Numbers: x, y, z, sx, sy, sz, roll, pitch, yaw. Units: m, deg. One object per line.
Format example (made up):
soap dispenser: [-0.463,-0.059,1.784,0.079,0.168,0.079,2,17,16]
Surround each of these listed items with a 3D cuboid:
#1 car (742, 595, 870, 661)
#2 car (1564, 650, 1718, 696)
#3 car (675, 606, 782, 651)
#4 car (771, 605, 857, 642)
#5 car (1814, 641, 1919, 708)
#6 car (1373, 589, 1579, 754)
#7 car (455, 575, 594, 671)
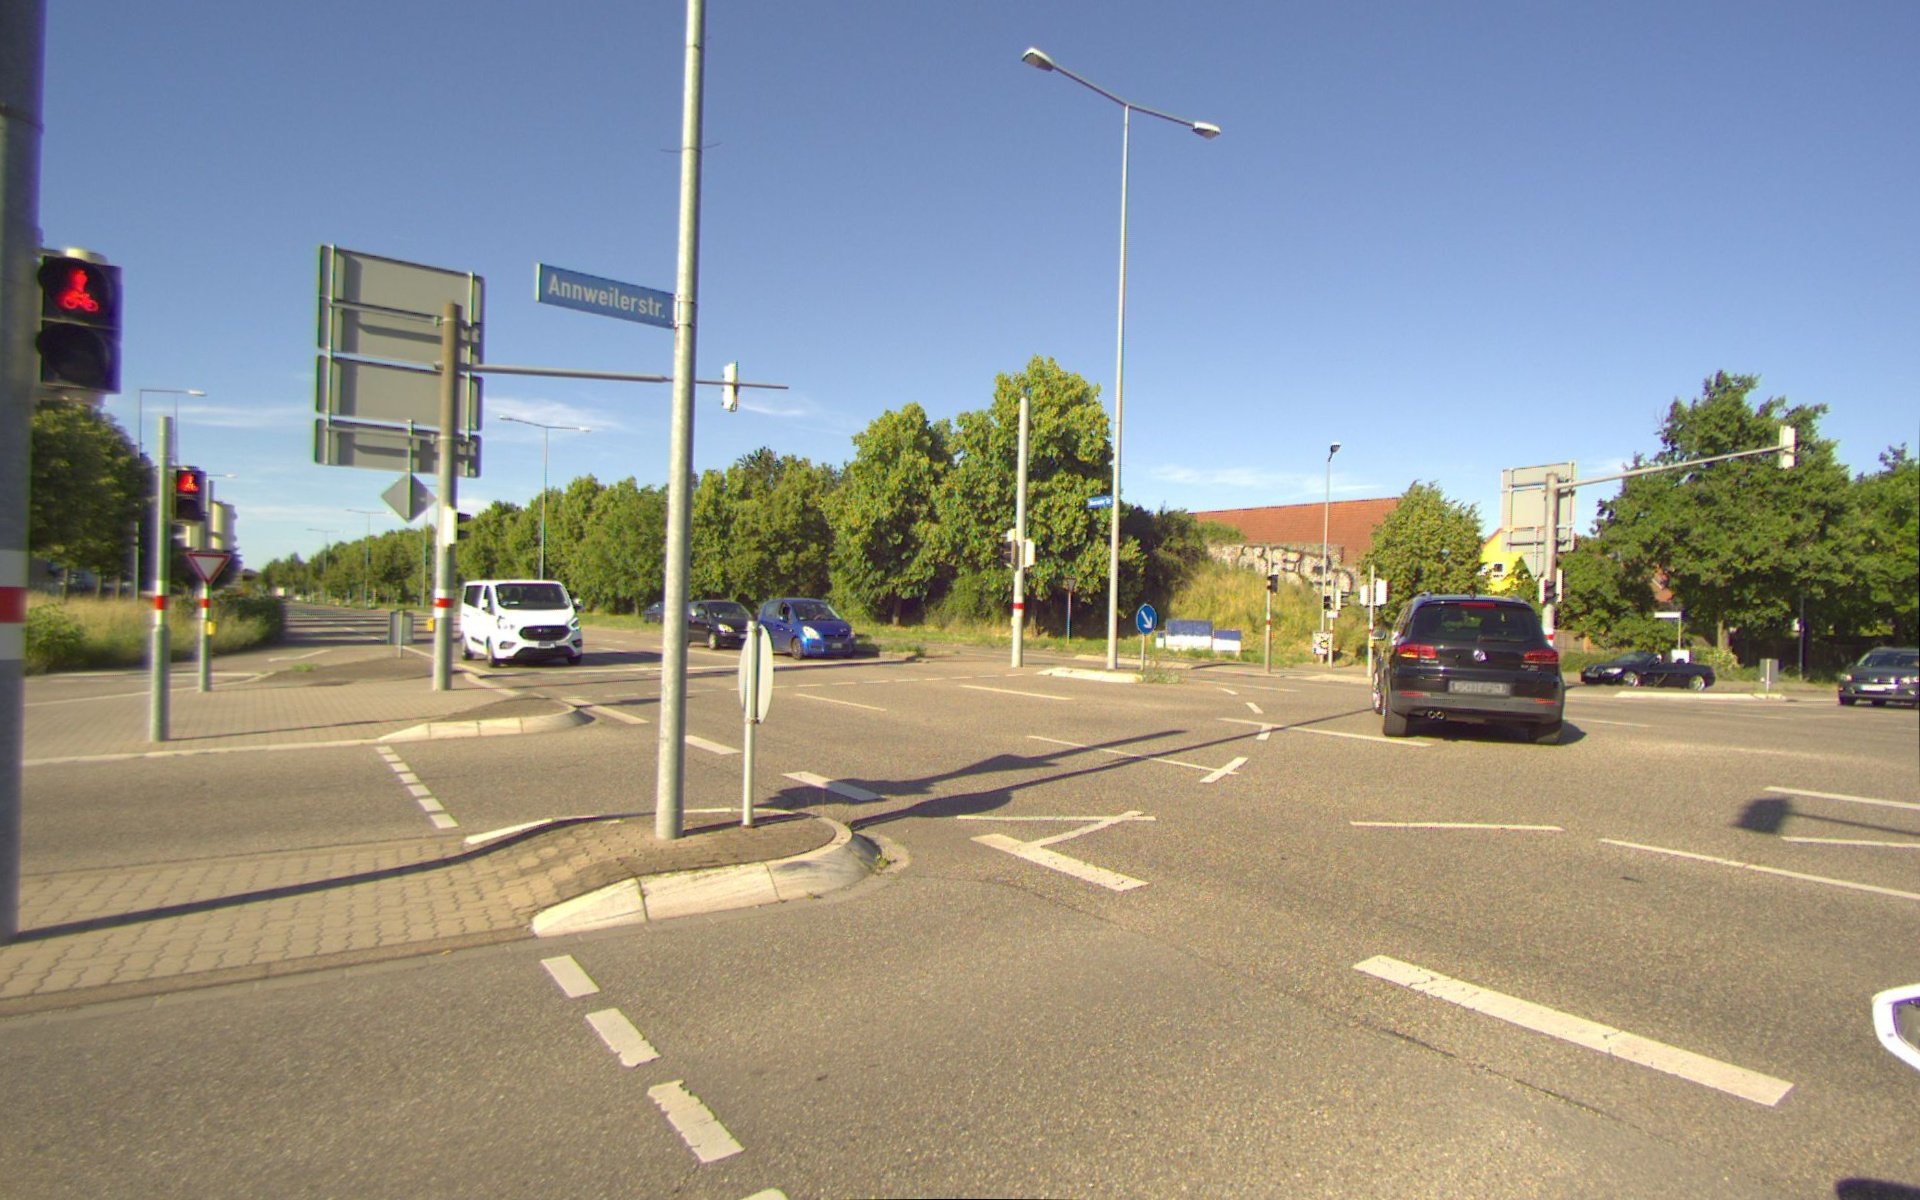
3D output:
car: [-4.240,0.694,27.210,1.875,1.666,3.999,0,0,-36]
car: [24.312,2.606,35.913,4.606,1.326,2.042,4,-2,-15]
car: [-7.279,0.839,31.324,1.875,1.292,3.999,0,0,-36]
car: [-6.898,1.066,47.029,2.031,1.638,4.367,0,0,-40]
car: [25.973,2.053,28.059,4.481,1.665,1.983,3,-1,-32]
car: [6.140,0.772,12.379,1.797,1.649,4.000,1,-1,21]
car: [-10.548,0.483,24.081,2.028,2.040,5.223,0,0,-35]
